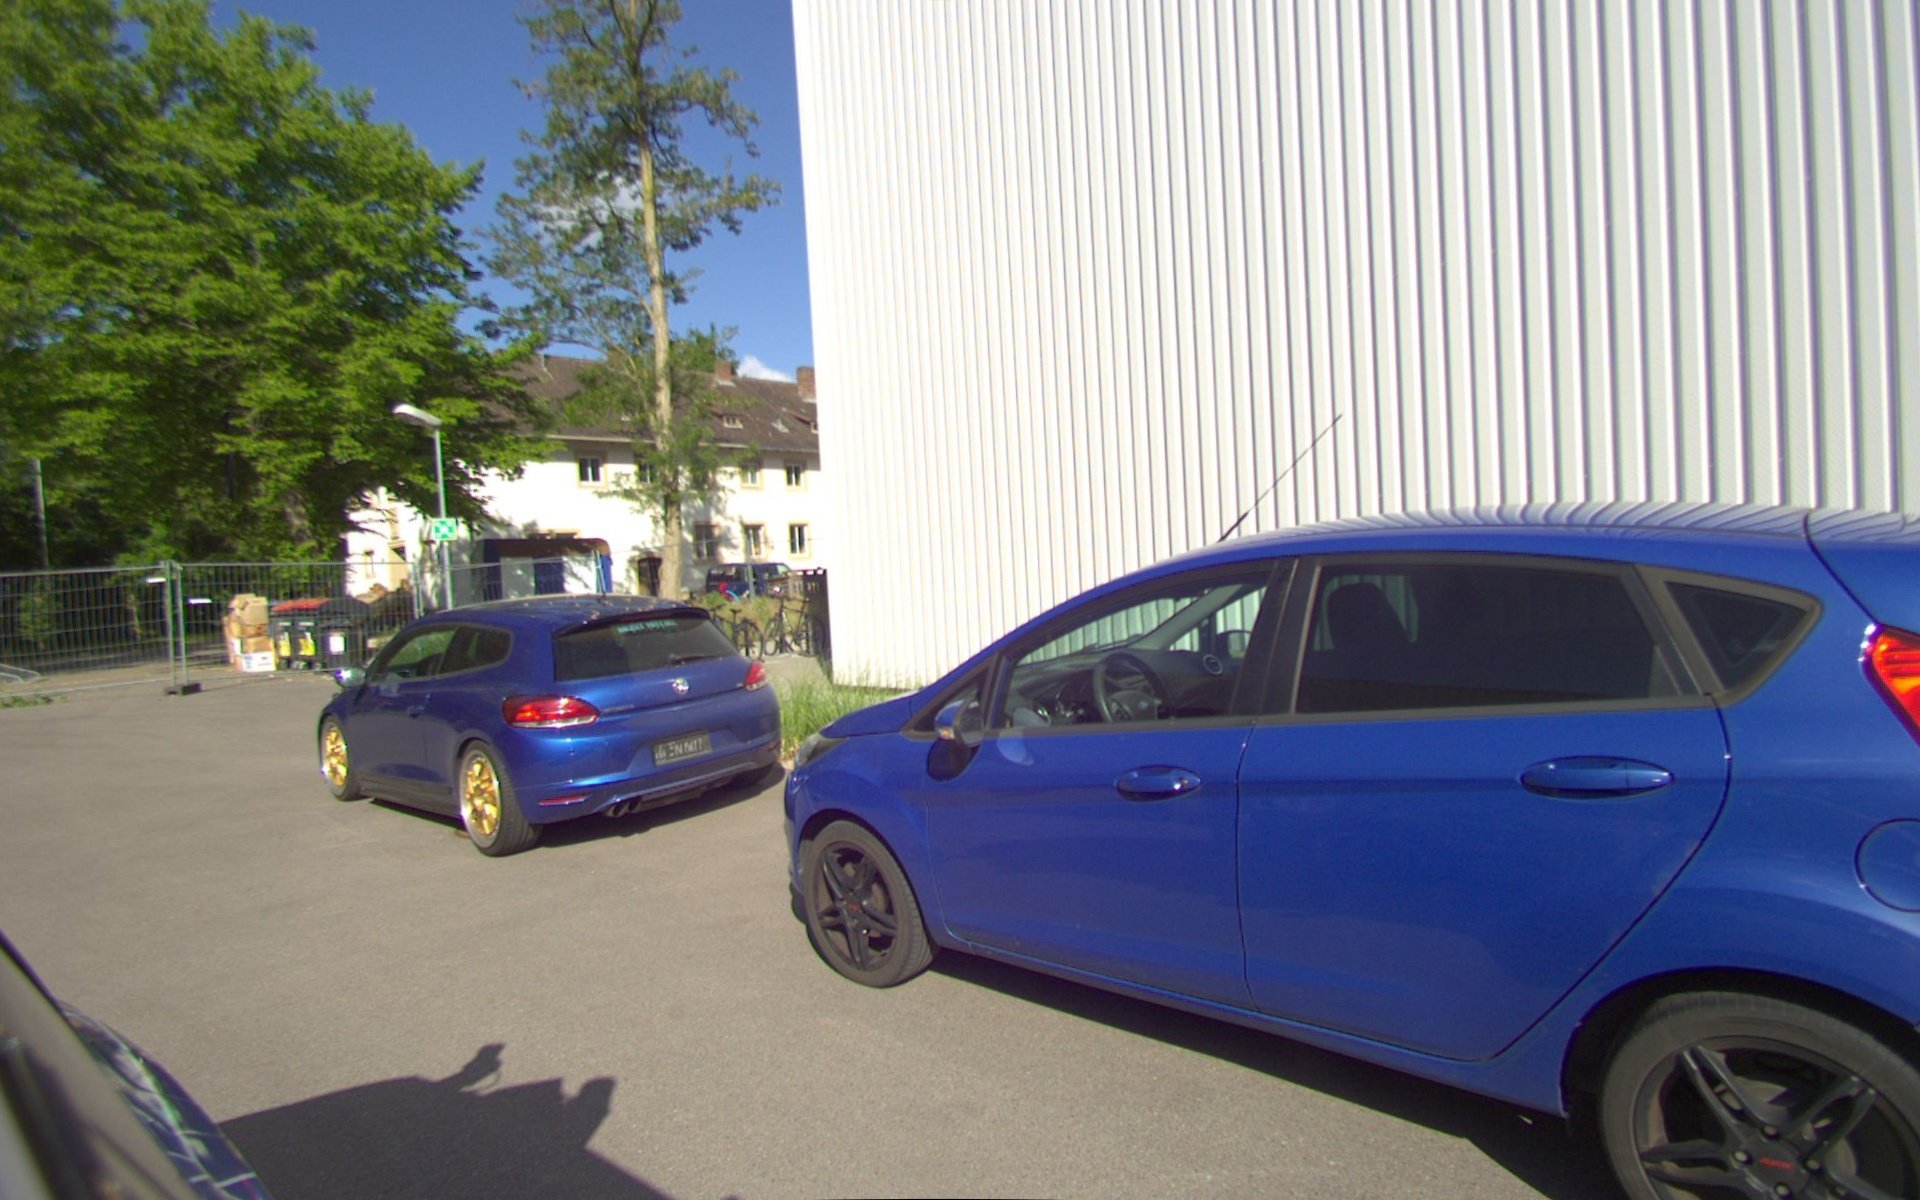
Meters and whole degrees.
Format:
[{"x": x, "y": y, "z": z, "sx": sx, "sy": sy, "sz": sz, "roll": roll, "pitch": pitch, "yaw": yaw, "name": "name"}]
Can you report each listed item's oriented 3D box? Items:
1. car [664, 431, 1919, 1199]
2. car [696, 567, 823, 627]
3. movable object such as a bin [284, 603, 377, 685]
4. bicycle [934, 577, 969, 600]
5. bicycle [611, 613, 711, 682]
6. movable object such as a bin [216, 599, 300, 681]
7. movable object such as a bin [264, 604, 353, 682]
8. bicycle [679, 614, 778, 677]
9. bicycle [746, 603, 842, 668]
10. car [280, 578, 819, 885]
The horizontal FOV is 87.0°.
[{"x": 0.963, "y": 0.460, "z": 3.128, "sx": 4.094, "sy": 1.510, "sz": 1.614, "roll": -2, "pitch": 4, "yaw": 43, "name": "car"}, {"x": -7.598, "y": -0.139, "z": 38.092, "sx": 4.873, "sy": 2.026, "sz": 2.032, "roll": 0, "pitch": 5, "yaw": 41, "name": "car"}, {"x": -12.235, "y": 0.836, "z": 19.676, "sx": 1.229, "sy": 1.442, "sz": 1.080, "roll": -1, "pitch": 4, "yaw": 38, "name": "movable object such as a bin"}, {"x": -0.475, "y": -0.593, "z": 53.145, "sx": 0.784, "sy": 1.141, "sz": 1.846, "roll": -6, "pitch": 5, "yaw": -41, "name": "bicycle"}, {"x": -4.711, "y": 0.736, "z": 15.882, "sx": 1.833, "sy": 0.994, "sz": 0.476, "roll": -2, "pitch": 3, "yaw": 38, "name": "bicycle"}, {"x": -14.926, "y": 0.820, "z": 21.529, "sx": 1.229, "sy": 1.609, "sz": 1.080, "roll": 0, "pitch": 3, "yaw": 38, "name": "movable object such as a bin"}, {"x": -13.228, "y": 0.850, "z": 20.567, "sx": 1.229, "sy": 1.450, "sz": 1.080, "roll": -1, "pitch": 4, "yaw": 38, "name": "movable object such as a bin"}, {"x": -3.836, "y": 0.749, "z": 16.706, "sx": 1.832, "sy": 0.967, "sz": 0.476, "roll": -2, "pitch": 3, "yaw": 38, "name": "bicycle"}, {"x": -2.903, "y": 0.619, "z": 17.638, "sx": 1.828, "sy": 1.045, "sz": 0.476, "roll": -2, "pitch": 3, "yaw": 38, "name": "bicycle"}, {"x": -2.965, "y": 0.669, "z": 6.842, "sx": 4.053, "sy": 1.370, "sz": 1.755, "roll": -2, "pitch": 2, "yaw": 43, "name": "car"}]
